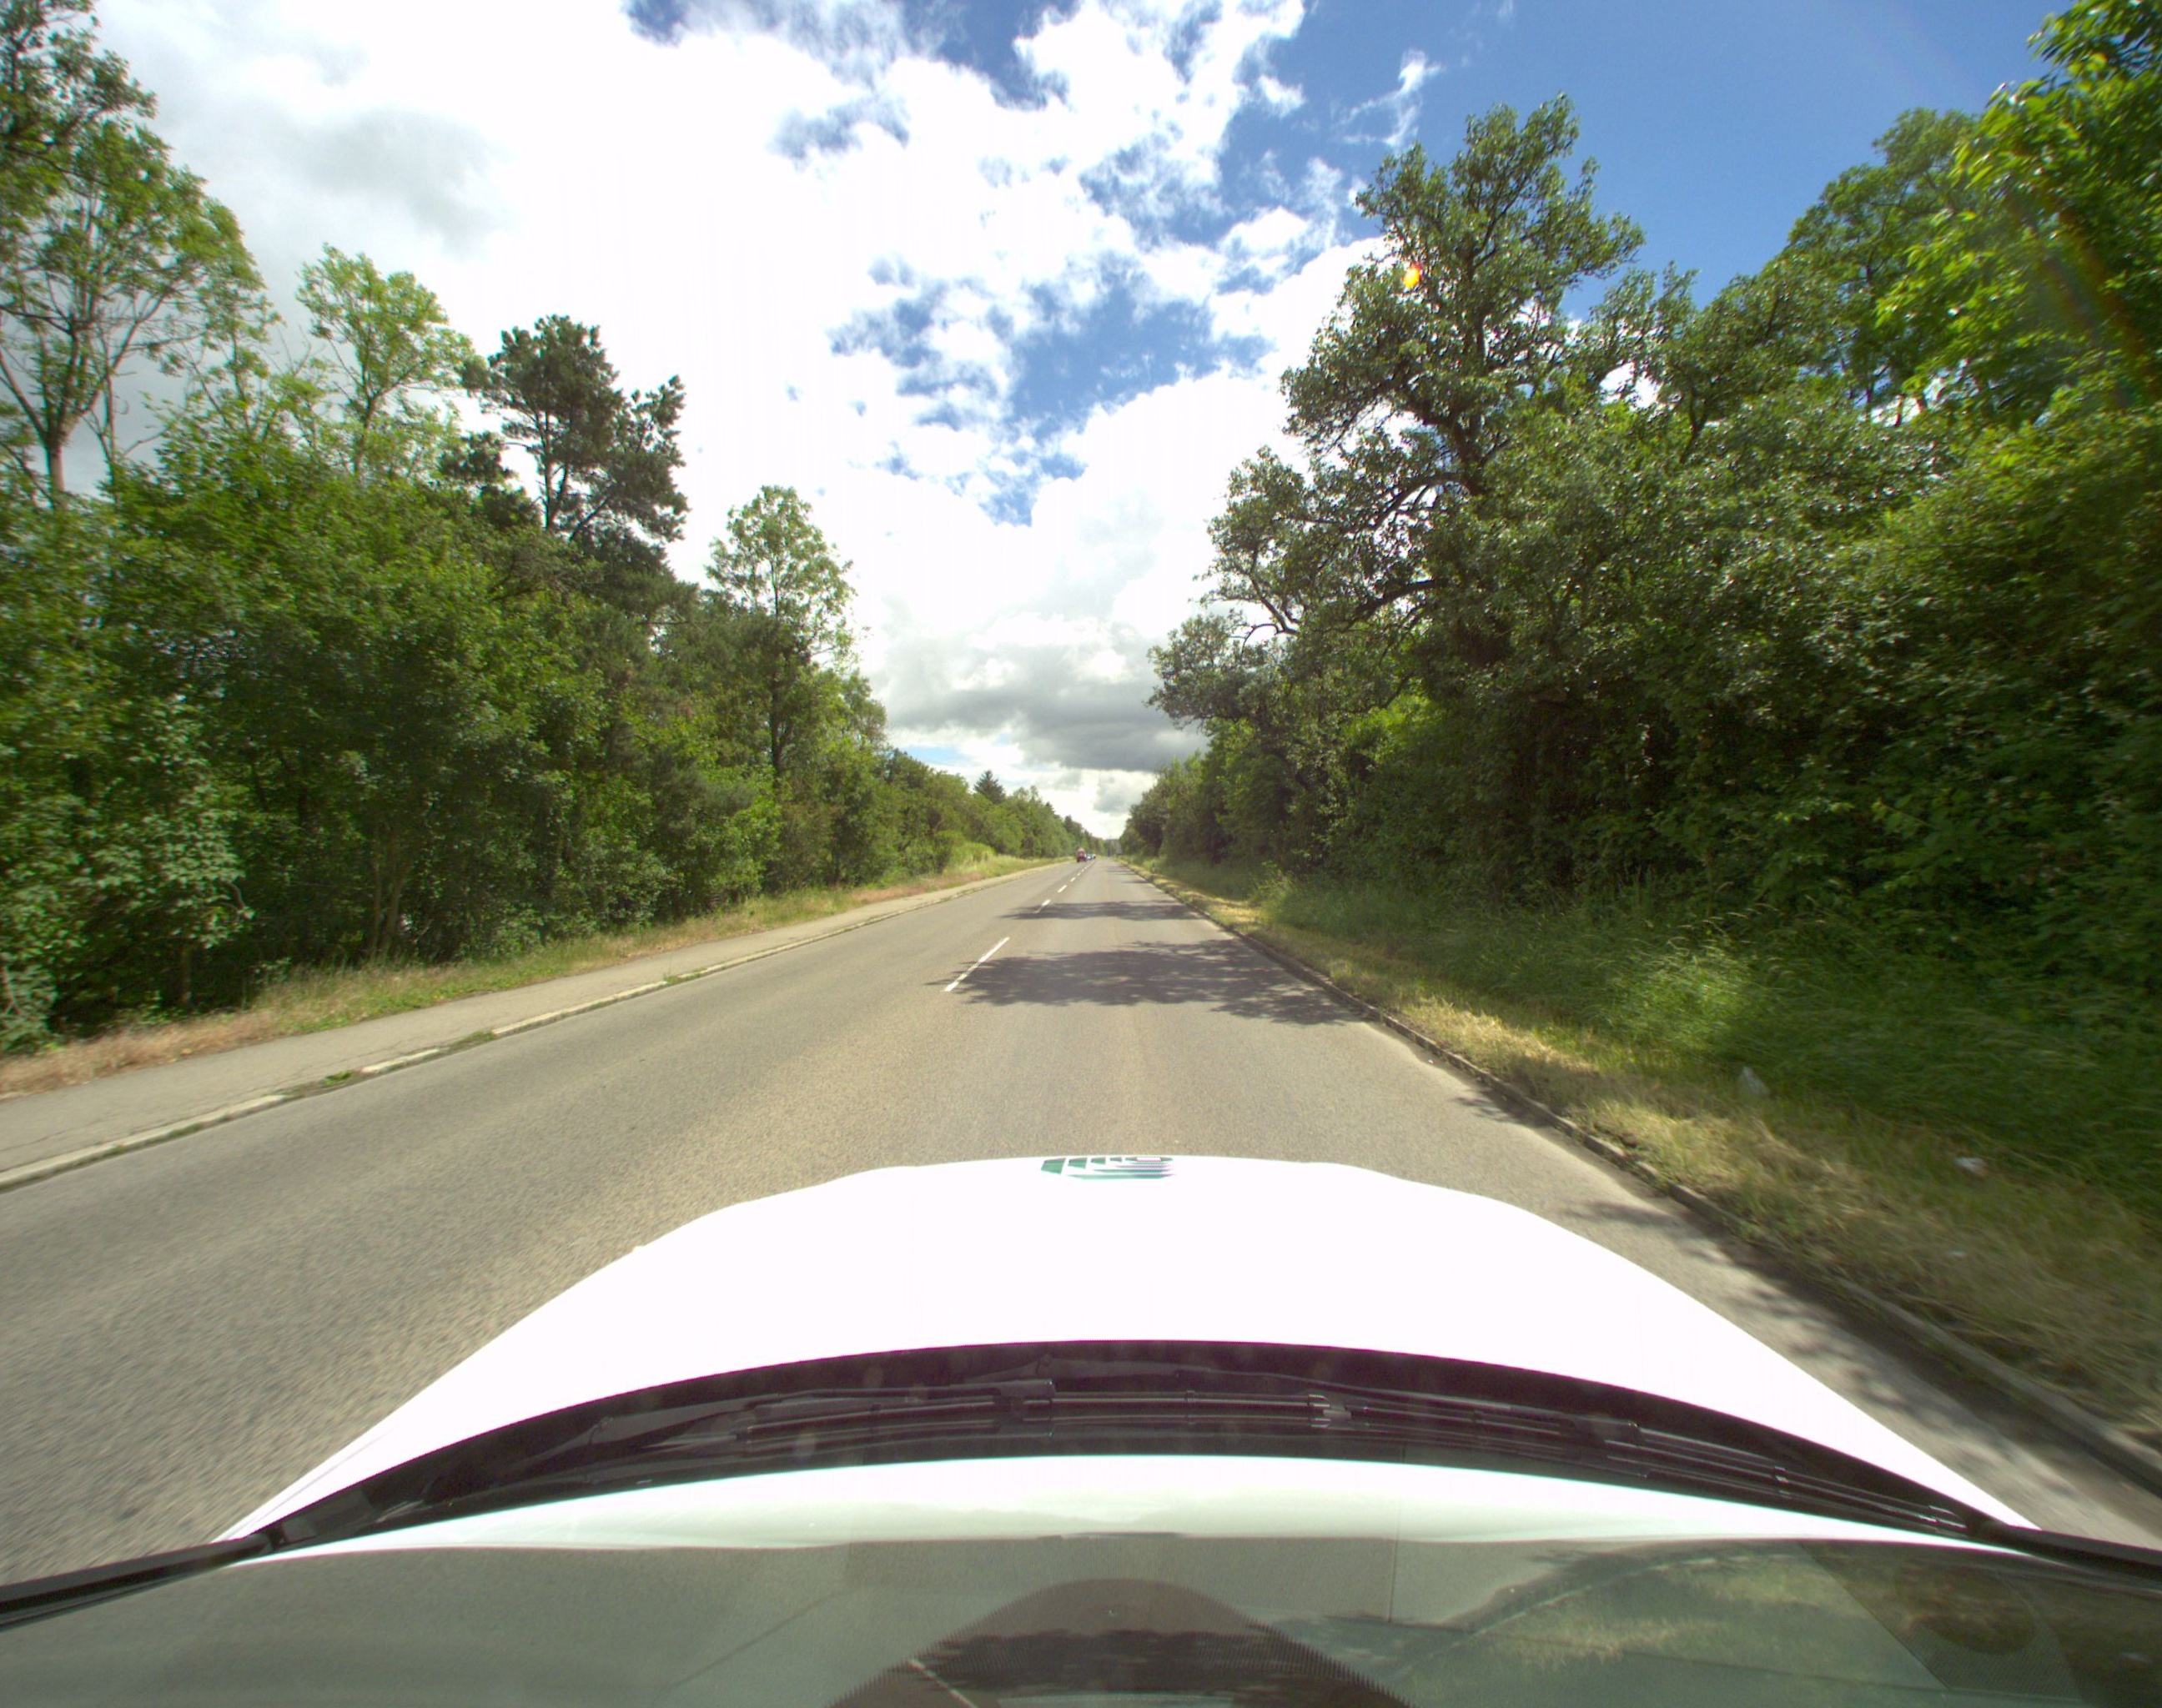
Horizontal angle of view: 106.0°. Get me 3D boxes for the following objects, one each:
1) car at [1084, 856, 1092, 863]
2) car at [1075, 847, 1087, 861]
[{"bbox_3d":[1.706,1.366,198.850,1.778,1.446,4.452,-4,0,0],"label":"car"},{"bbox_3d":[0.042,0.003,149.687,1.962,2.550,4.726,-4,0,1],"label":"car"}]
